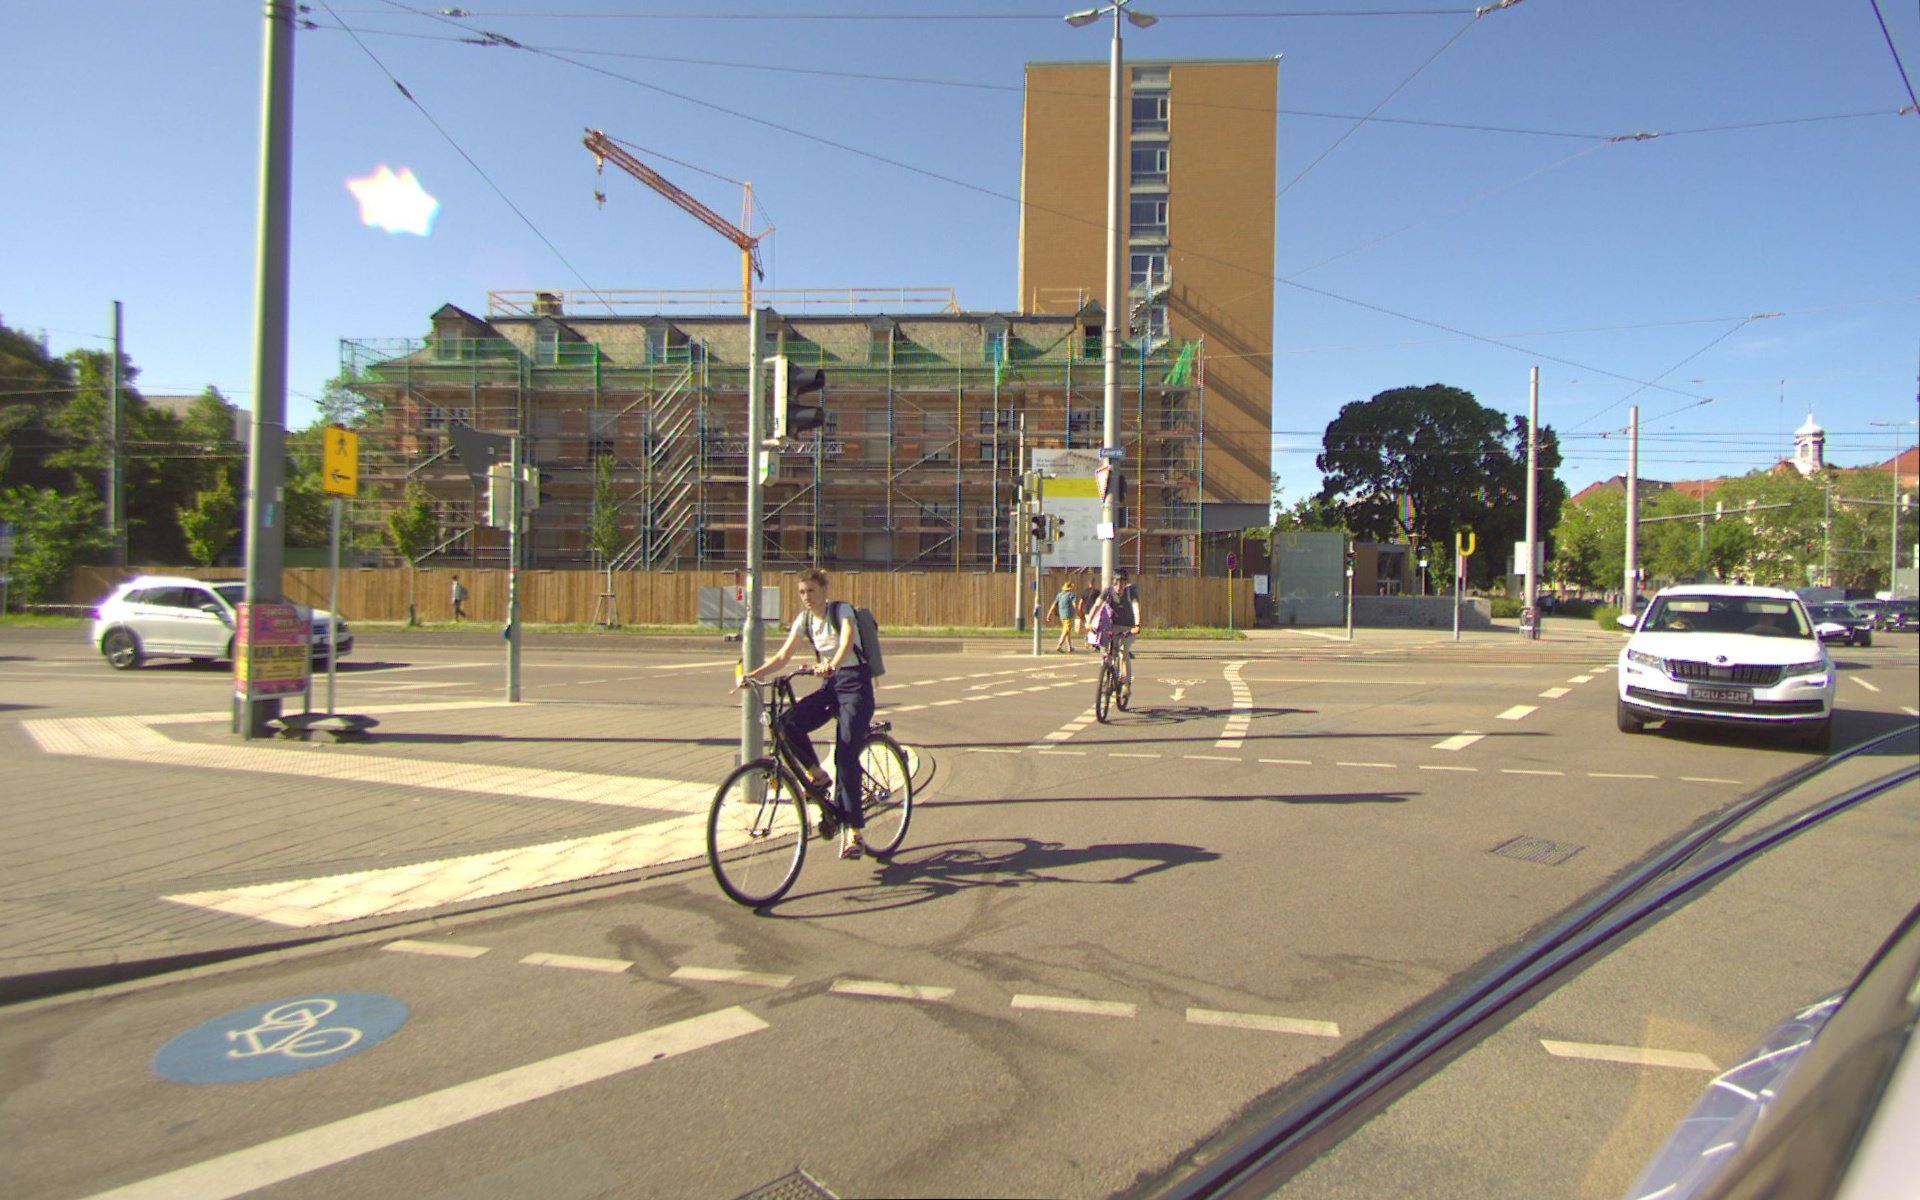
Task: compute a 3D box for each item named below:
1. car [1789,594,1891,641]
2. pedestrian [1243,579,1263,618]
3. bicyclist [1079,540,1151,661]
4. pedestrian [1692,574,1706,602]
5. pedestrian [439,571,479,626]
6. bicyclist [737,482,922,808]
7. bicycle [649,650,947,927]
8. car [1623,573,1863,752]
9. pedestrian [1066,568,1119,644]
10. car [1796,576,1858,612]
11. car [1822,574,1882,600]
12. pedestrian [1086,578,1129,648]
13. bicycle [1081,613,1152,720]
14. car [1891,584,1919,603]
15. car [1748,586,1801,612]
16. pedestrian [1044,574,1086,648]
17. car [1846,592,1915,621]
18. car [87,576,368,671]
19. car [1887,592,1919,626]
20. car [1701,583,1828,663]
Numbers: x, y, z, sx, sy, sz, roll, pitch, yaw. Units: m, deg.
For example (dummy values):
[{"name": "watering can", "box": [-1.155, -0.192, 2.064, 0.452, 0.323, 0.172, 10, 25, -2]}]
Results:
[{"name": "car", "box": [30.337, 0.570, 35.016, 1.906, 1.477, 3.825, -1, 0, 30]}, {"name": "pedestrian", "box": [13.973, -0.083, 48.242, 0.764, 1.810, 0.829, -1, 0, 10]}, {"name": "bicyclist", "box": [1.951, 0.004, 12.659, 0.668, 1.439, 1.029, -1, 0, 20]}, {"name": "pedestrian", "box": [66.577, -1.064, 91.167, 0.867, 2.466, 0.881, -1, 0, 27]}, {"name": "pedestrian", "box": [-19.191, -0.053, 38.796, 1.067, 2.039, 0.865, -1, 0, 0]}, {"name": "bicyclist", "box": [-0.702, 0.224, 5.623, 0.547, 1.634, 0.943, -1, 0, 30]}, {"name": "bicycle", "box": [-0.775, 0.891, 5.489, 0.528, 1.131, 1.914, 0, 0, 29]}, {"name": "car", "box": [8.967, 0.567, 11.783, 1.859, 1.665, 4.339, 1, 1, 36]}, {"name": "pedestrian", "box": [3.502, 0.161, 26.651, 0.930, 1.954, 1.032, -1, -1, 44]}, {"name": "car", "box": [68.928, -0.460, 80.580, 2.219, 2.715, 5.264, -1, 0, 24]}, {"name": "car", "box": [53.346, -0.797, 60.607, 1.810, 1.477, 4.611, -1, 0, 31]}, {"name": "pedestrian", "box": [3.649, 0.306, 25.036, 0.659, 1.698, 0.811, -1, -1, 44]}, {"name": "bicycle", "box": [1.976, 0.777, 12.603, 0.526, 1.173, 1.854, 0, 1, 19]}, {"name": "car", "box": [93.097, -0.660, 97.404, 5.130, 1.826, 2.413, -1, 0, -8]}, {"name": "car", "box": [49.681, -0.077, 61.816, 1.745, 1.554, 4.081, -1, 0, 28]}, {"name": "pedestrian", "box": [2.593, 0.269, 24.950, 0.659, 1.779, 0.811, -1, -1, 44]}, {"name": "car", "box": [49.970, 0.344, 55.037, 1.810, 1.477, 4.611, -1, 0, 31]}, {"name": "car", "box": [-13.672, 0.391, 18.997, 4.183, 1.641, 1.914, 0, 2, 10]}, {"name": "car", "box": [46.819, 0.407, 49.459, 1.676, 1.551, 3.867, -1, 0, 34]}, {"name": "car", "box": [18.331, 0.464, 23.244, 1.874, 1.650, 3.965, -1, 0, 33]}]
